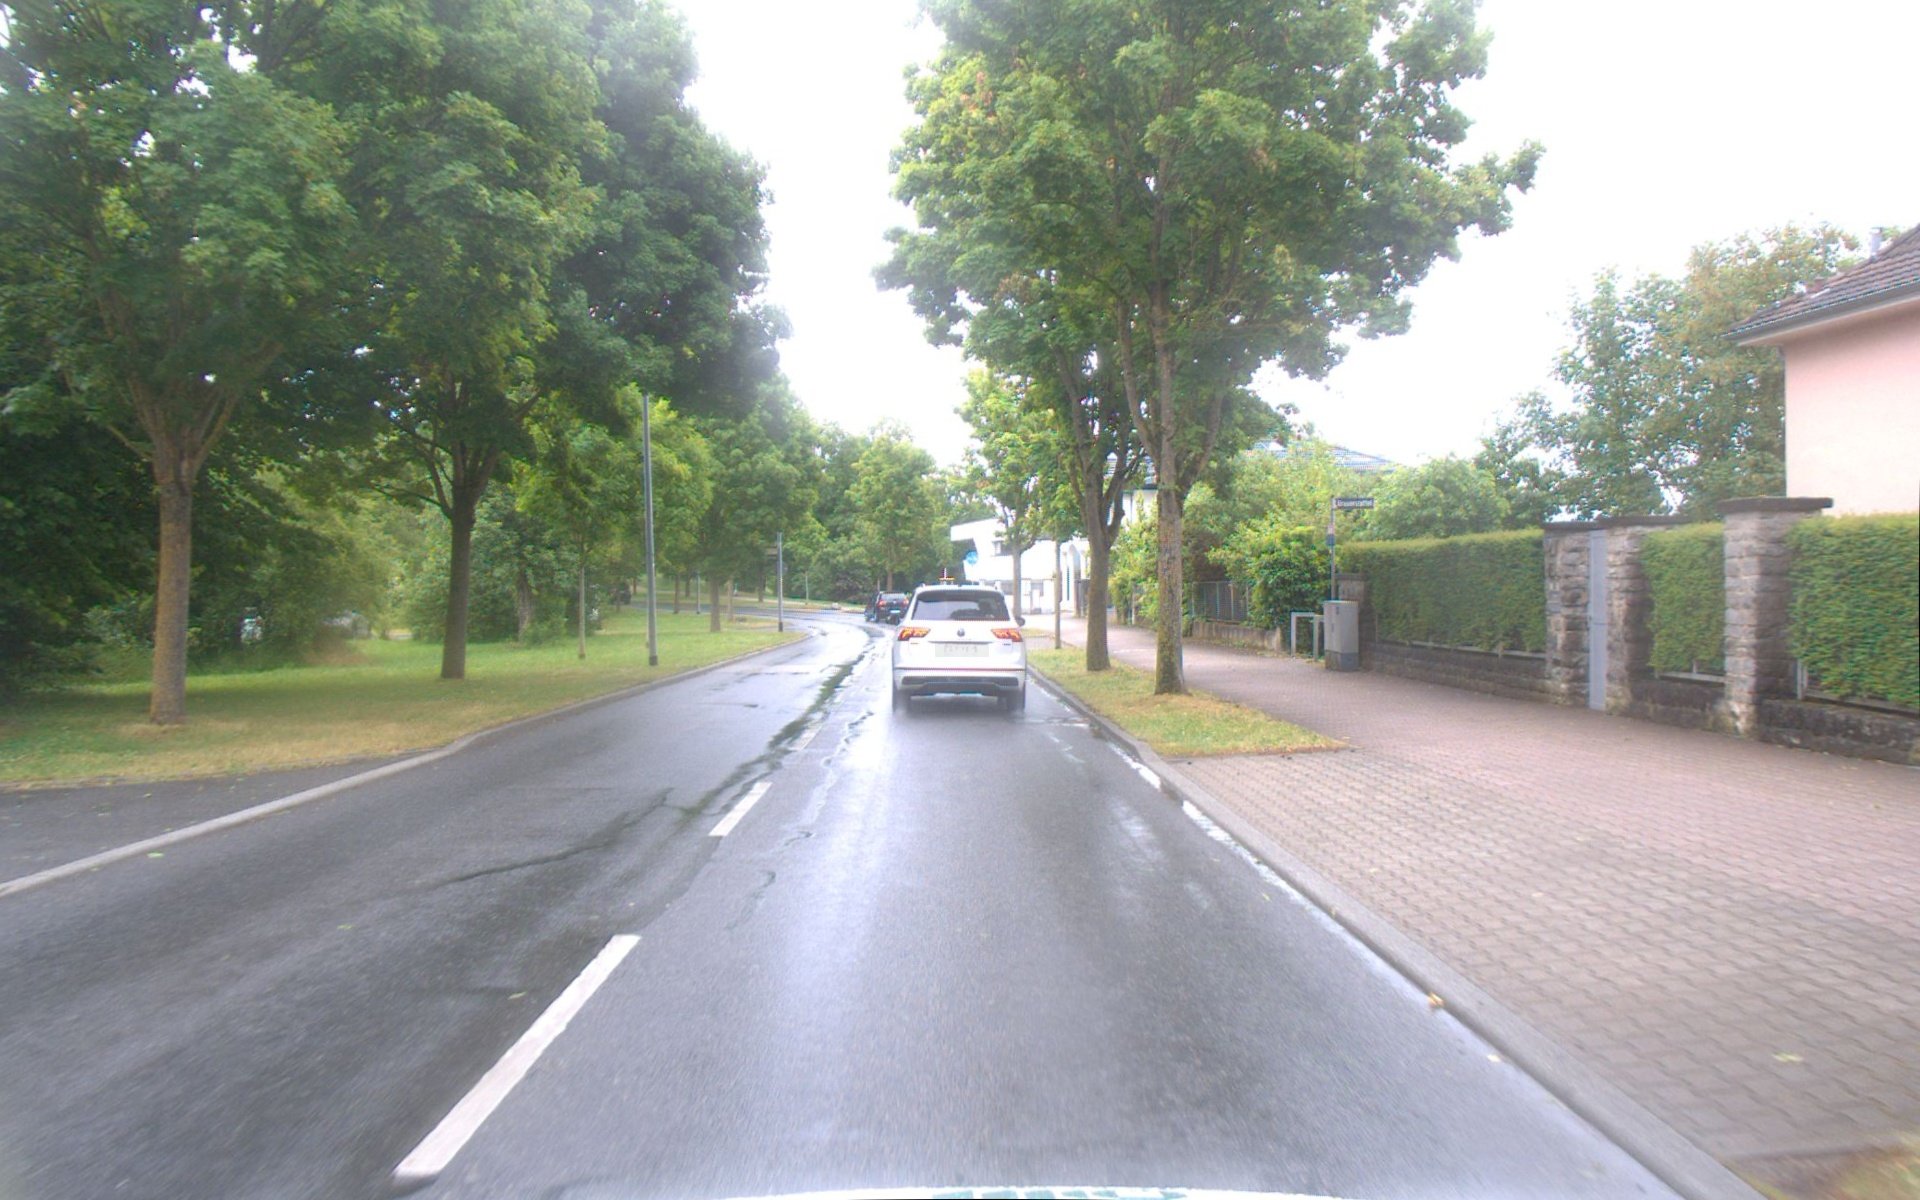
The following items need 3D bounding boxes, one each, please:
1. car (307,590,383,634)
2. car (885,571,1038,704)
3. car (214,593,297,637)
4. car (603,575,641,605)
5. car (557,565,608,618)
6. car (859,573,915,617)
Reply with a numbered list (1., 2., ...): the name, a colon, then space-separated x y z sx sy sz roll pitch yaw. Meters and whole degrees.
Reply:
1. car: -23.605 0.471 63.647 1.757 1.564 4.993 -1 -1 -9
2. car: 0.009 0.446 23.154 1.934 1.681 4.177 0 1 0
3. car: -26.970 0.554 63.456 1.818 1.608 4.345 -1 0 -8
4. car: -24.438 -0.729 119.546 1.876 2.049 3.915 1 0 -24
5. car: -17.210 -0.433 75.526 2.090 2.020 5.460 -3 4 -12
6. car: -3.568 -0.266 80.295 1.870 2.049 3.928 1 0 -15
